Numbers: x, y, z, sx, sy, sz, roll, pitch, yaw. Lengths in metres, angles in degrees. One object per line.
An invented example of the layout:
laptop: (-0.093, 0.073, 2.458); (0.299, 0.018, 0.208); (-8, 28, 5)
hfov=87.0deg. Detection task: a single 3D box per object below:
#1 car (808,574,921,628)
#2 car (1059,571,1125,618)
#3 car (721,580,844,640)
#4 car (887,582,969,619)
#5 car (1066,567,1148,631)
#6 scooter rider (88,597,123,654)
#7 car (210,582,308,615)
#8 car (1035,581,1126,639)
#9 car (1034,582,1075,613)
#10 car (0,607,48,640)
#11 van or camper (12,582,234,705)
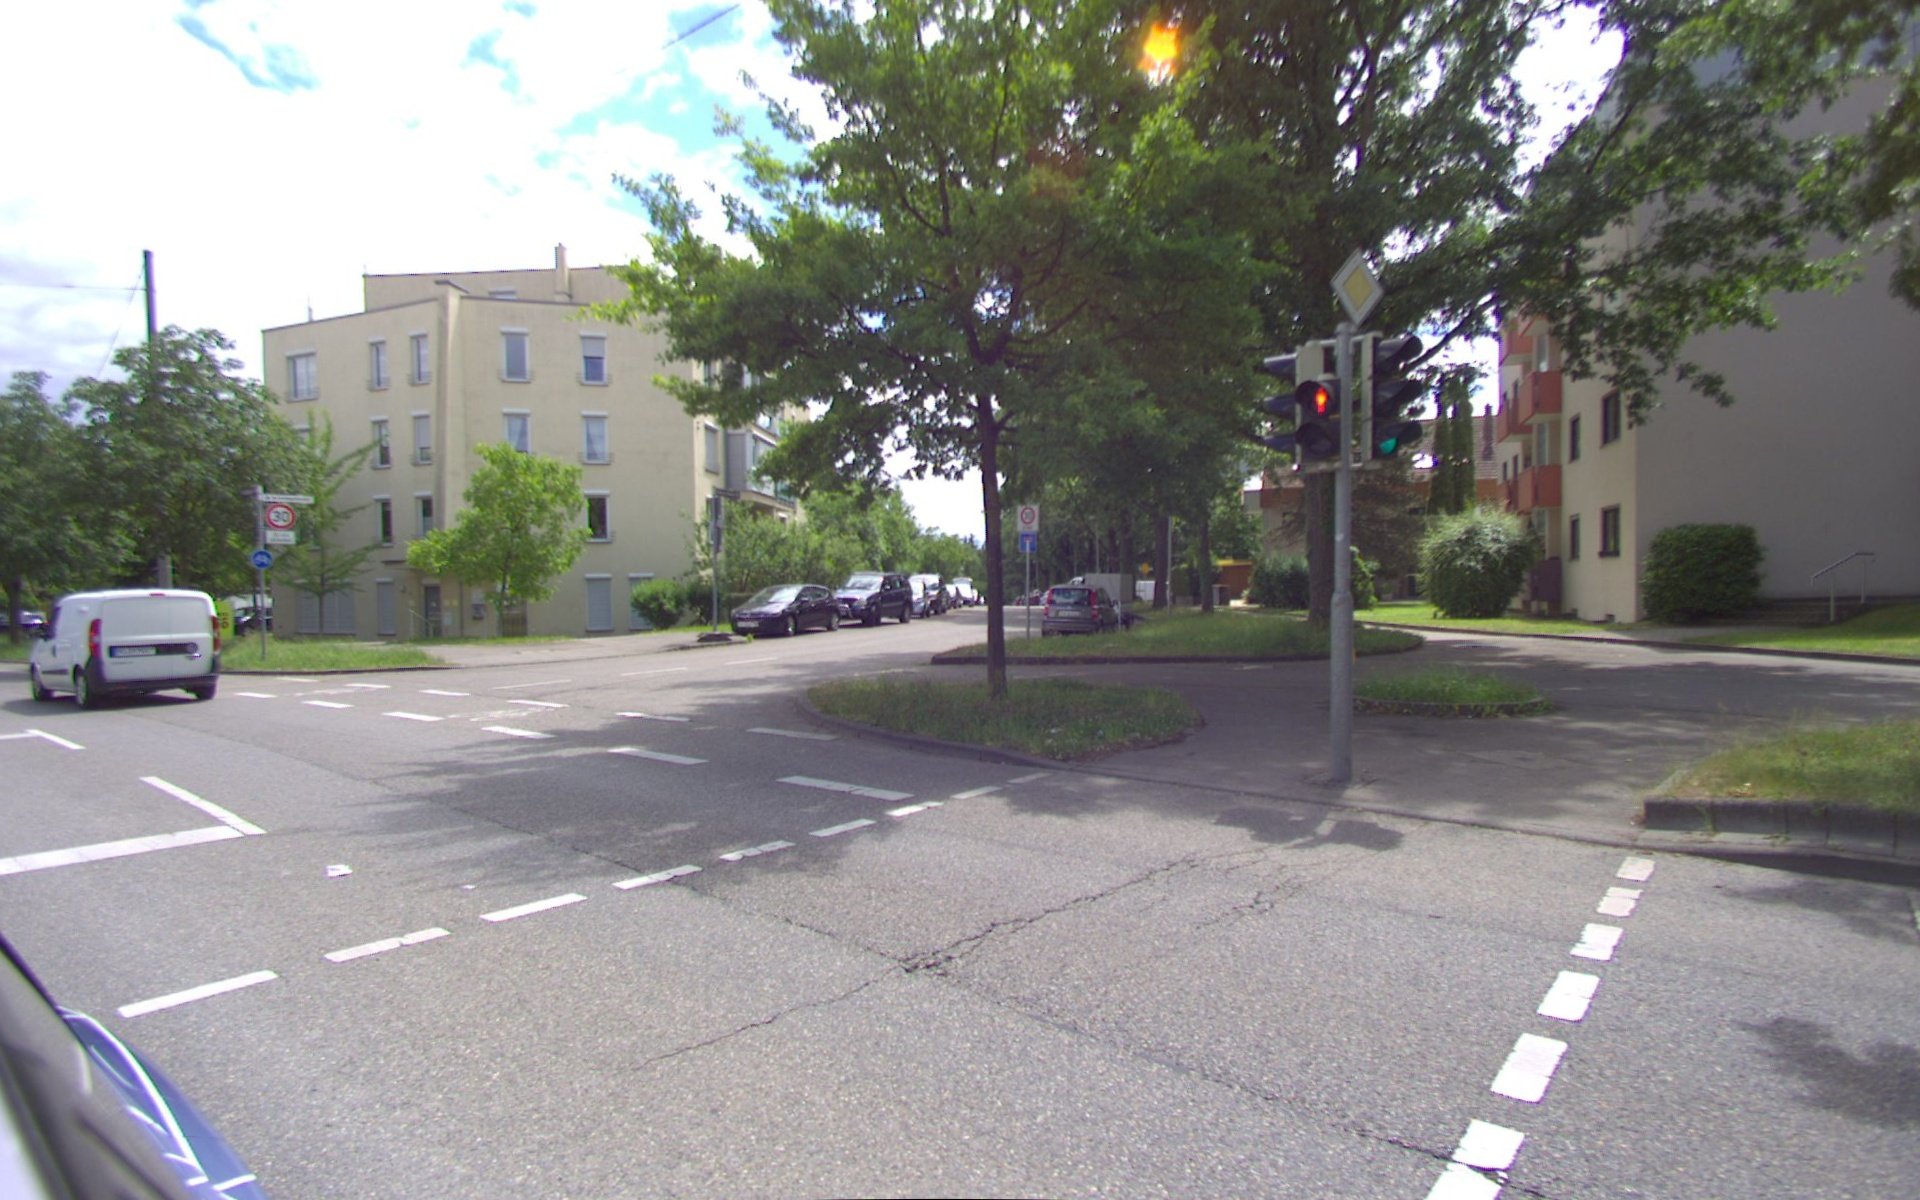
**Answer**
car: (-3.159, -0.037, 34.716); (2.086, 1.615, 4.762); (0, 3, 19)
car: (5.426, -0.235, 42.070); (2.096, 1.807, 4.418); (-2, 1, 0)
car: (-5.093, 0.250, 29.673); (1.724, 1.408, 4.127); (-1, 3, 19)
car: (-1.225, -0.009, 41.131); (1.960, 1.342, 3.973); (-1, 2, 21)
car: (4.697, 0.005, 31.910); (1.831, 1.858, 3.974); (-1, -1, 19)
scooter rider: (-31.615, 0.931, 37.457); (0.792, 2.028, 0.671); (0, 3, 32)
car: (-33.321, -0.040, 48.228); (1.770, 1.431, 3.997); (-2, -1, 3)
car: (3.379, 0.225, 27.727); (1.683, 1.463, 3.976); (-1, 1, 19)
car: (5.551, -0.174, 59.814); (1.968, 1.715, 4.275); (-2, 1, 0)
car: (-52.869, 1.315, 55.441); (1.710, 1.694, 3.940); (-1, 1, 28)
van or camper: (-14.161, 0.674, 17.049); (4.372, 1.789, 1.844); (-1, 1, 36)
